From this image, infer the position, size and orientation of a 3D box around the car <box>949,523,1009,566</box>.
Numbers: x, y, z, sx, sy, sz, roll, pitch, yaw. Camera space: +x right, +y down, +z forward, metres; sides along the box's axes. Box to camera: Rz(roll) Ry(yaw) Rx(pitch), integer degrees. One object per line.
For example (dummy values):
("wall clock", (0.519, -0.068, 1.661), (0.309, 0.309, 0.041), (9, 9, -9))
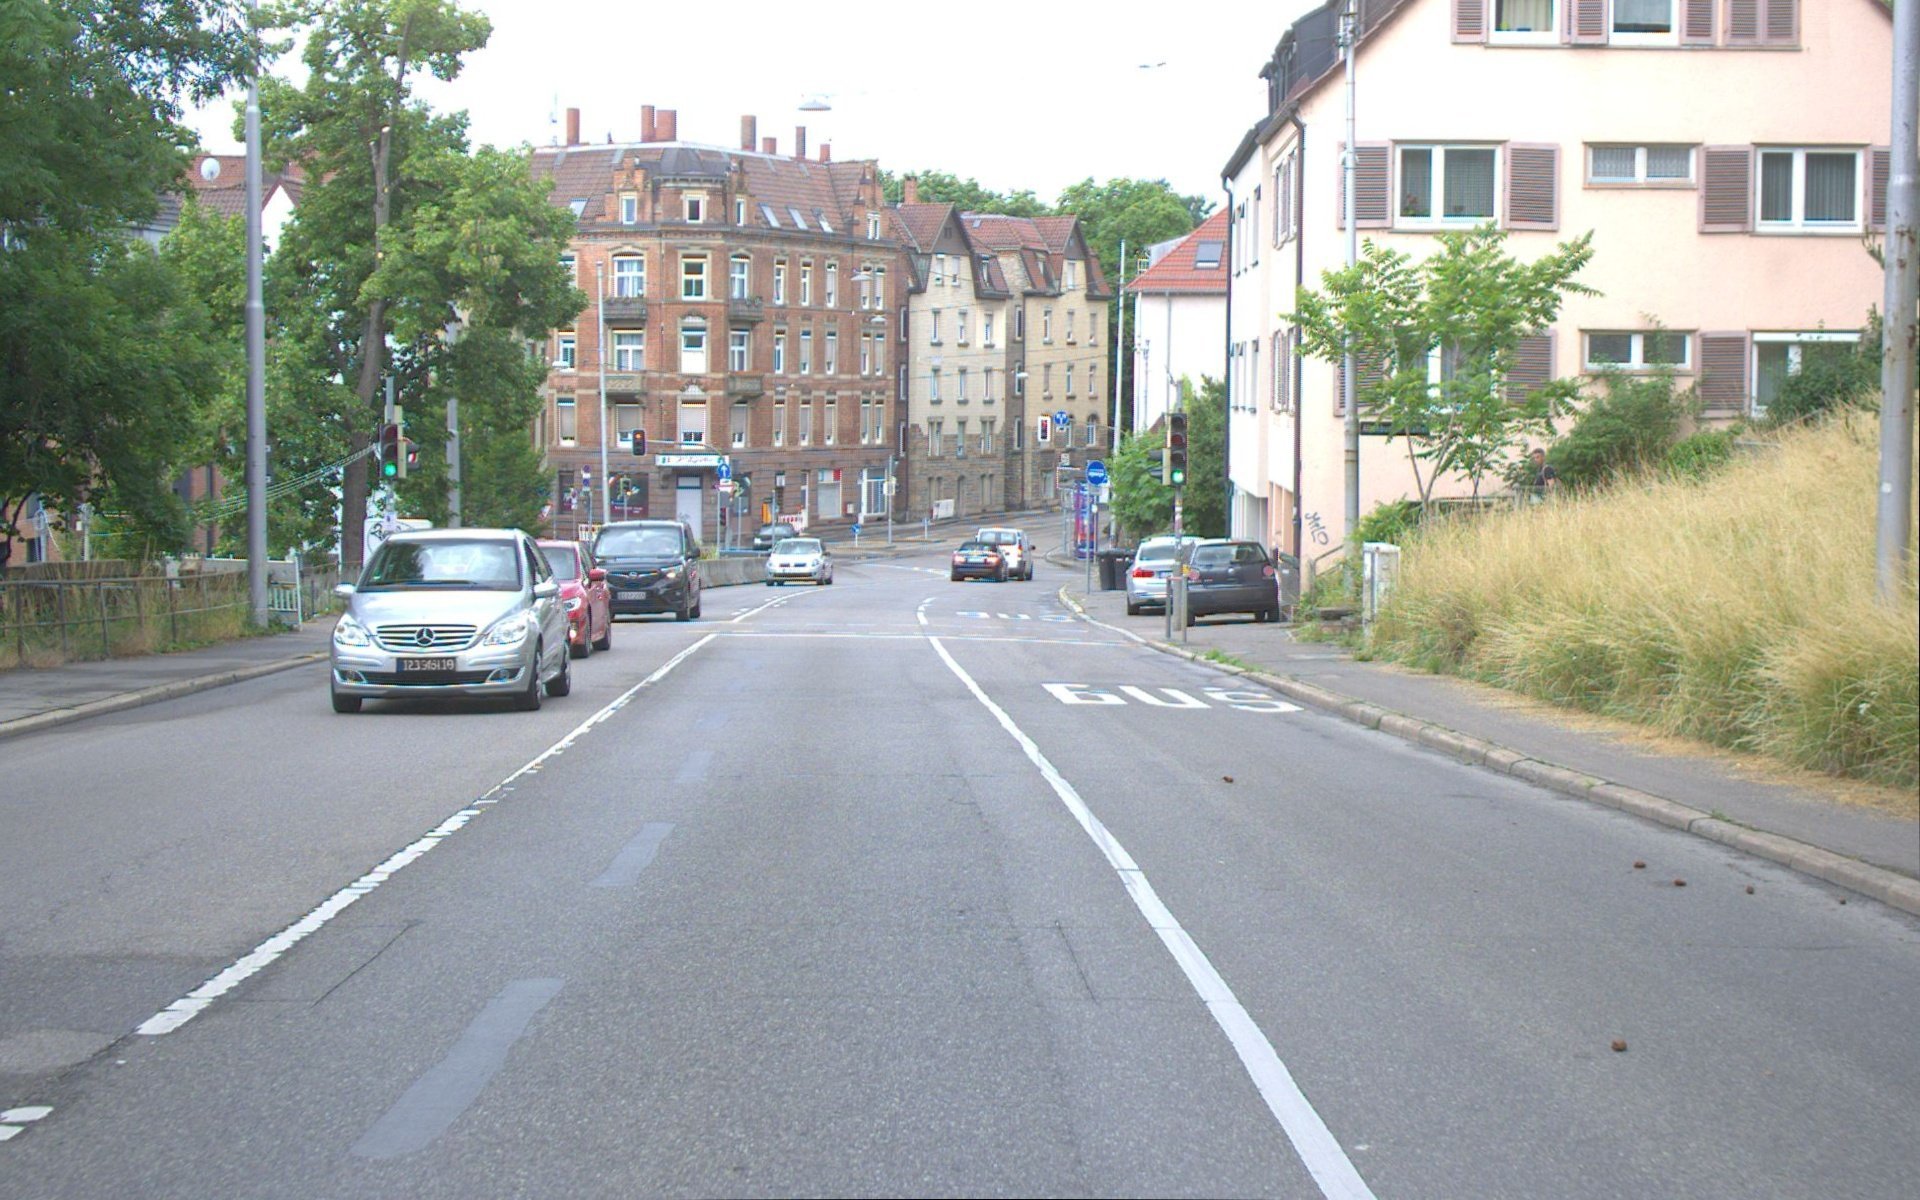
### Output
("car", (0.671, -1.951, 119.768), (1.816, 1.425, 4.000), (2, 1, 4))

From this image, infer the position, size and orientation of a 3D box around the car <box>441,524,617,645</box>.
("car", (-5.454, -0.234, 43.976), (1.783, 1.454, 4.429), (-1, 1, -1))

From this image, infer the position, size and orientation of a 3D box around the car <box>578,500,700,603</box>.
("car", (-5.609, -0.865, 60.511), (1.784, 1.740, 4.429), (-1, 1, -1))

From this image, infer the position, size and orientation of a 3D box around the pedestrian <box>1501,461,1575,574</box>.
("pedestrian", (8.797, -1.251, 52.350), (0.887, 1.690, 0.873), (2, 0, -4))

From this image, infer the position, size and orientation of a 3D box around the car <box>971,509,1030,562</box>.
("car", (1.522, -2.374, 126.679), (1.909, 1.877, 4.000), (2, 1, 4))

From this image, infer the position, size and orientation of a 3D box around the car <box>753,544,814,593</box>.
("car", (-5.386, -0.970, 105.393), (1.720, 1.440, 4.159), (-1, 1, -1))

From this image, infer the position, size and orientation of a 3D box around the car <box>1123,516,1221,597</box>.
("car", (4.173, -0.891, 68.251), (1.794, 1.446, 4.718), (-3, 2, 3))

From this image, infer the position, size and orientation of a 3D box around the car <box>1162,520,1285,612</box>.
("car", (4.521, -0.598, 59.428), (1.681, 1.446, 4.000), (-3, 1, -1))

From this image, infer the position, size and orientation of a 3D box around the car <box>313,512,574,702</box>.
("car", (-4.558, 0.017, 30.867), (1.783, 1.569, 4.281), (-1, 1, -1))

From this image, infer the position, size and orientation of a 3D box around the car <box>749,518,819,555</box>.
("car", (-7.834, -2.829, 153.551), (1.983, 1.569, 4.373), (-1, 1, 13))
